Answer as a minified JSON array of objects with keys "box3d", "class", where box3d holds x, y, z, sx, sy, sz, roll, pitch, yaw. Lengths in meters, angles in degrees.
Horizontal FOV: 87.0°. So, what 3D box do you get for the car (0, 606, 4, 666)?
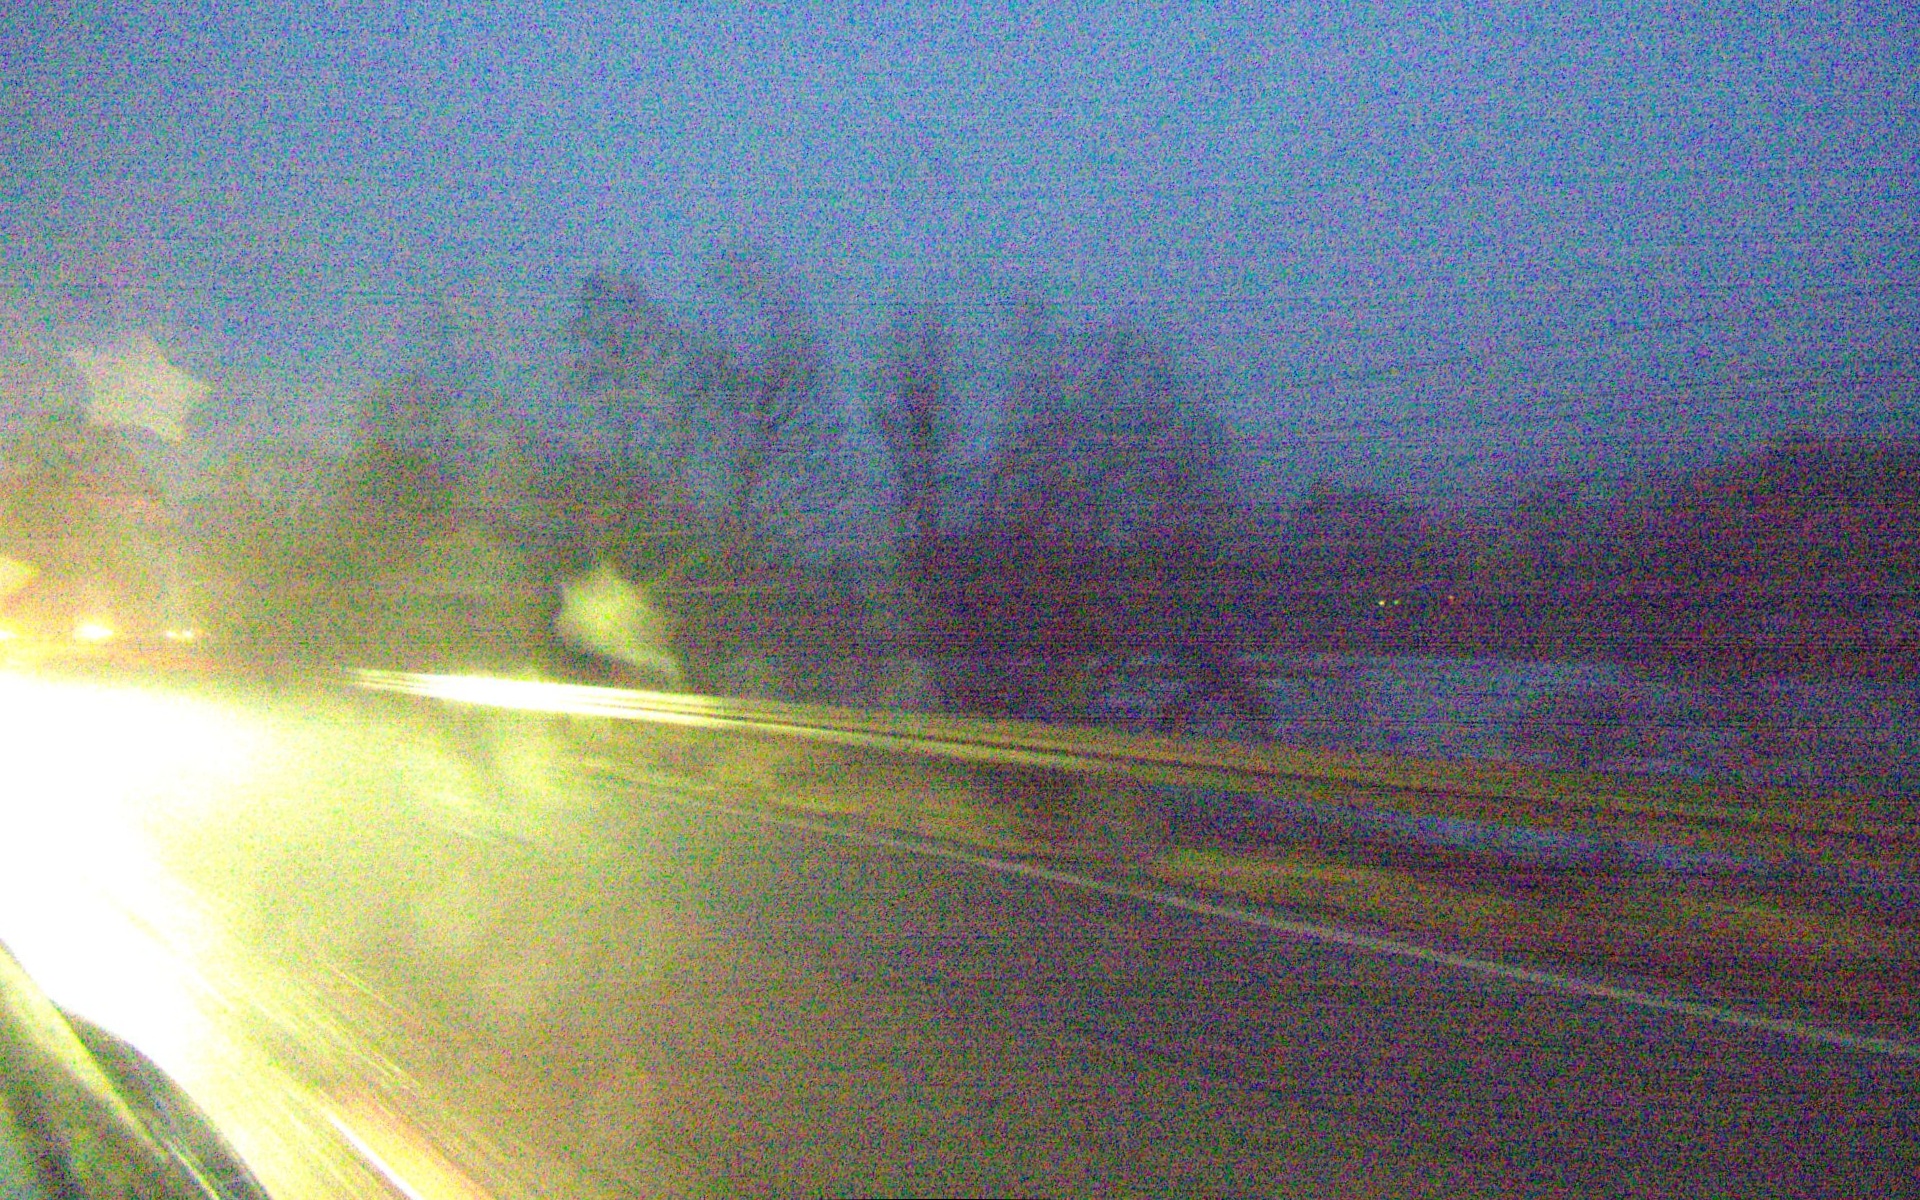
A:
[{"box3d":[-31.780,1.180,32.025,3.998,1.858,1.817,-4,-4,41],"class":"car"}]
